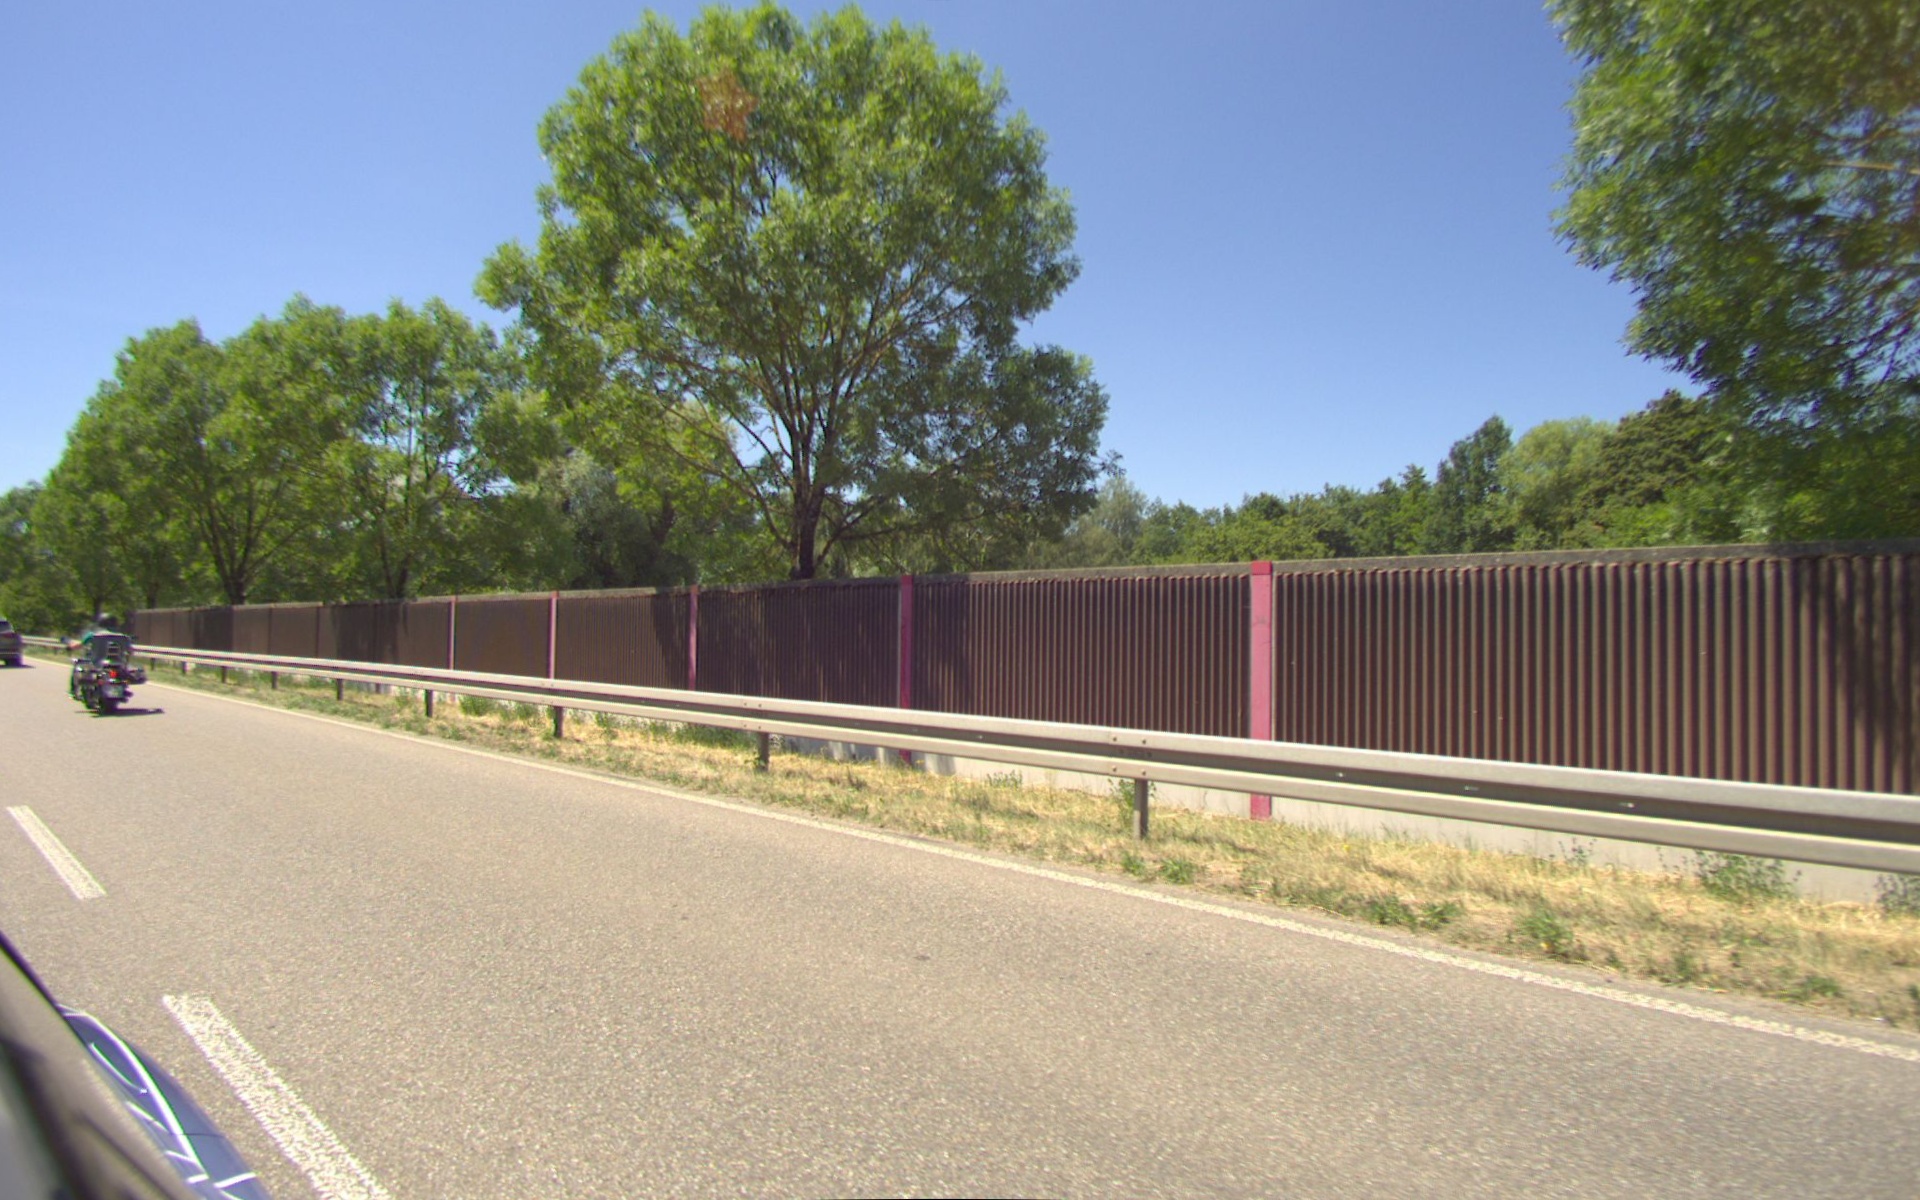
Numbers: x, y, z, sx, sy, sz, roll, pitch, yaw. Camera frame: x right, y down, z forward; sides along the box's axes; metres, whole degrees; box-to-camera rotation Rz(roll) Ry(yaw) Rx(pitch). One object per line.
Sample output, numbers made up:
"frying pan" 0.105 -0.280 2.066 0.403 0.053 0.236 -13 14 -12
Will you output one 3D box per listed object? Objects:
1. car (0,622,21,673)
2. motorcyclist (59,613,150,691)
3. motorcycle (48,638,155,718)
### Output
"car" -31.020 1.476 31.802 4.388 1.537 1.770 -2 -2 41
"motorcyclist" -13.389 0.790 15.841 0.927 1.139 0.928 -1 1 41
"motorcycle" -13.488 1.183 15.878 2.334 1.117 0.944 -2 -1 41
